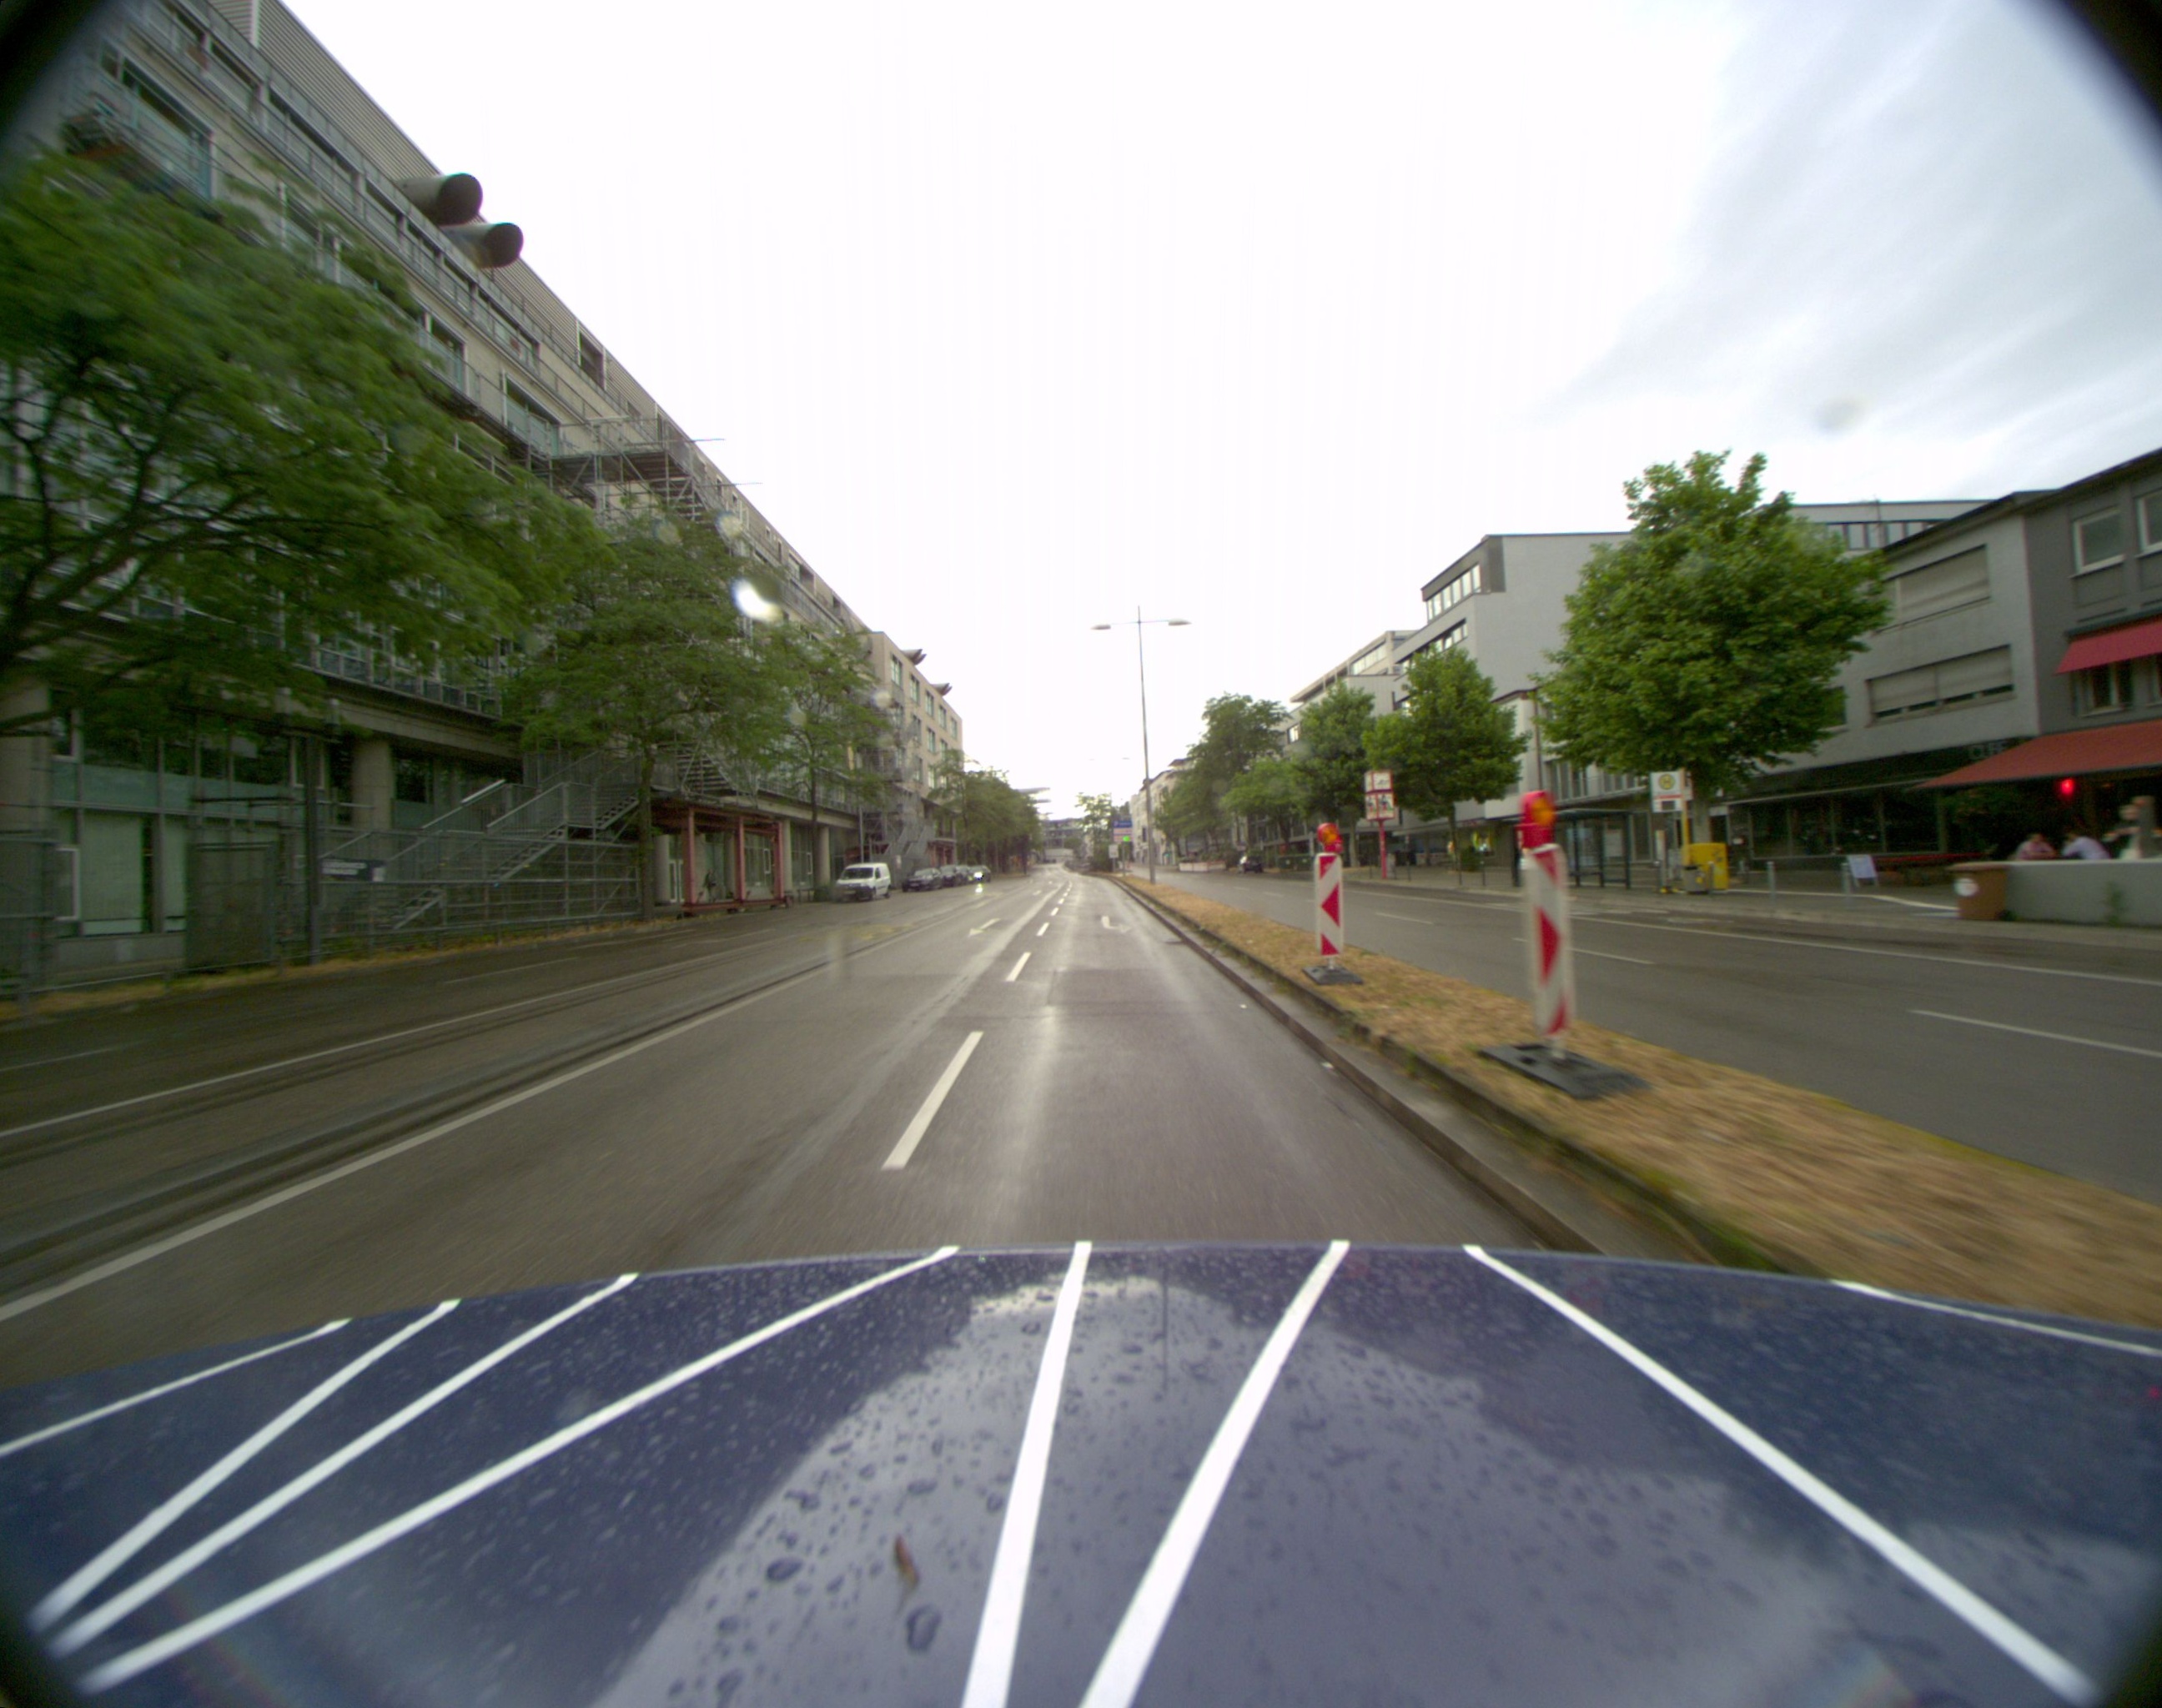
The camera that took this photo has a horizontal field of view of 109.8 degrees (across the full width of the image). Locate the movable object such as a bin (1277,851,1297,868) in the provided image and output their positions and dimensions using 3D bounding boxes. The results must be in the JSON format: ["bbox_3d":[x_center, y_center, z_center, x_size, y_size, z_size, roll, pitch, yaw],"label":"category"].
[{"bbox_3d":[17.553,0.456,64.820,1.362,1.418,1.088,-2,0,1],"label":"movable object such as a bin"}]

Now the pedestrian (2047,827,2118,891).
[{"bbox_3d":[23.141,0.116,17.571,0.691,1.442,0.708,-2,0,-3],"label":"pedestrian"}]

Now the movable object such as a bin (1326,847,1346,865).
[{"bbox_3d":[21.739,0.174,64.833,1.281,1.479,1.088,-2,0,1],"label":"movable object such as a bin"}]

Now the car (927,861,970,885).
[{"bbox_3d":[-9.567,1.343,55.298,1.998,1.636,4.863,-2,0,3],"label":"car"}]

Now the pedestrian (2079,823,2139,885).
[{"bbox_3d":[24.867,-0.001,18.390,0.691,1.442,0.547,-2,0,-3],"label":"pedestrian"}]

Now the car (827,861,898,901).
[{"bbox_3d":[-10.457,1.237,36.760,1.998,1.739,4.527,-2,0,1],"label":"car"}]

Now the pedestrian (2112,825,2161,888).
[{"bbox_3d":[24.836,0.055,17.747,0.691,1.442,0.583,-2,0,-2],"label":"pedestrian"}]

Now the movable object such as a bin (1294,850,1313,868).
[{"bbox_3d":[18.994,0.416,64.820,1.281,1.418,1.088,-2,0,1],"label":"movable object such as a bin"}]

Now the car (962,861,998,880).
[{"bbox_3d":[-8.811,1.412,66.592,1.998,1.591,5.291,-2,0,4],"label":"car"}]

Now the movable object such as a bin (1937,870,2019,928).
[{"bbox_3d":[14.470,0.715,12.269,0.533,0.892,0.682,0,0,-9],"label":"movable object such as a bin"}]

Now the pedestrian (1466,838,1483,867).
[{"bbox_3d":[23.809,-0.091,45.982,0.698,1.753,0.653,-2,0,3],"label":"pedestrian"}]

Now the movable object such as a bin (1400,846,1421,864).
[{"bbox_3d":[27.274,0.097,62.925,1.088,1.427,1.281,-2,0,-9],"label":"movable object such as a bin"}]

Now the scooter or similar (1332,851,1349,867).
[{"bbox_3d":[19.656,0.375,57.492,0.777,1.114,1.324,-5,-3,2],"label":"scooter or similar"}]

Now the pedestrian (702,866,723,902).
[{"bbox_3d":[-18.124,1.448,37.376,0.677,1.732,0.653,-2,0,3],"label":"pedestrian"}]

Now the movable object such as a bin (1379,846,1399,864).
[{"bbox_3d":[26.685,0.094,65.843,1.088,1.427,1.281,-2,0,-9],"label":"movable object such as a bin"}]

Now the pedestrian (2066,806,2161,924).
[{"bbox_3d":[17.280,0.179,12.666,0.691,1.874,0.758,-2,0,-3],"label":"pedestrian"}]

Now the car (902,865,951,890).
[{"bbox_3d":[-9.767,1.457,48.505,1.873,1.429,4.922,-2,0,3],"label":"car"}]

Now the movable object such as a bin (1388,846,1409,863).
[{"bbox_3d":[26.871,0.028,64.305,1.088,1.427,1.281,-2,0,-9],"label":"movable object such as a bin"}]

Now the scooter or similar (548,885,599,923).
[{"bbox_3d":[-17.203,1.676,25.798,0.633,1.154,1.547,-2,0,1],"label":"scooter or similar"}]

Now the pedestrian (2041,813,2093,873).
[{"bbox_3d":[26.087,-0.285,20.110,0.598,1.561,0.604,-2,0,-9],"label":"pedestrian"}]

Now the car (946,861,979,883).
[{"bbox_3d":[-9.414,1.390,60.673,1.866,1.591,4.593,-2,0,1],"label":"car"}]

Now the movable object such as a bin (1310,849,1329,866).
[{"bbox_3d":[20.345,0.292,64.843,1.281,1.418,1.088,-2,0,1],"label":"movable object such as a bin"}]

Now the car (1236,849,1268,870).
[{"bbox_3d":[15.291,0.475,68.167,1.783,1.627,4.021,-2,3,-2],"label":"car"}]
